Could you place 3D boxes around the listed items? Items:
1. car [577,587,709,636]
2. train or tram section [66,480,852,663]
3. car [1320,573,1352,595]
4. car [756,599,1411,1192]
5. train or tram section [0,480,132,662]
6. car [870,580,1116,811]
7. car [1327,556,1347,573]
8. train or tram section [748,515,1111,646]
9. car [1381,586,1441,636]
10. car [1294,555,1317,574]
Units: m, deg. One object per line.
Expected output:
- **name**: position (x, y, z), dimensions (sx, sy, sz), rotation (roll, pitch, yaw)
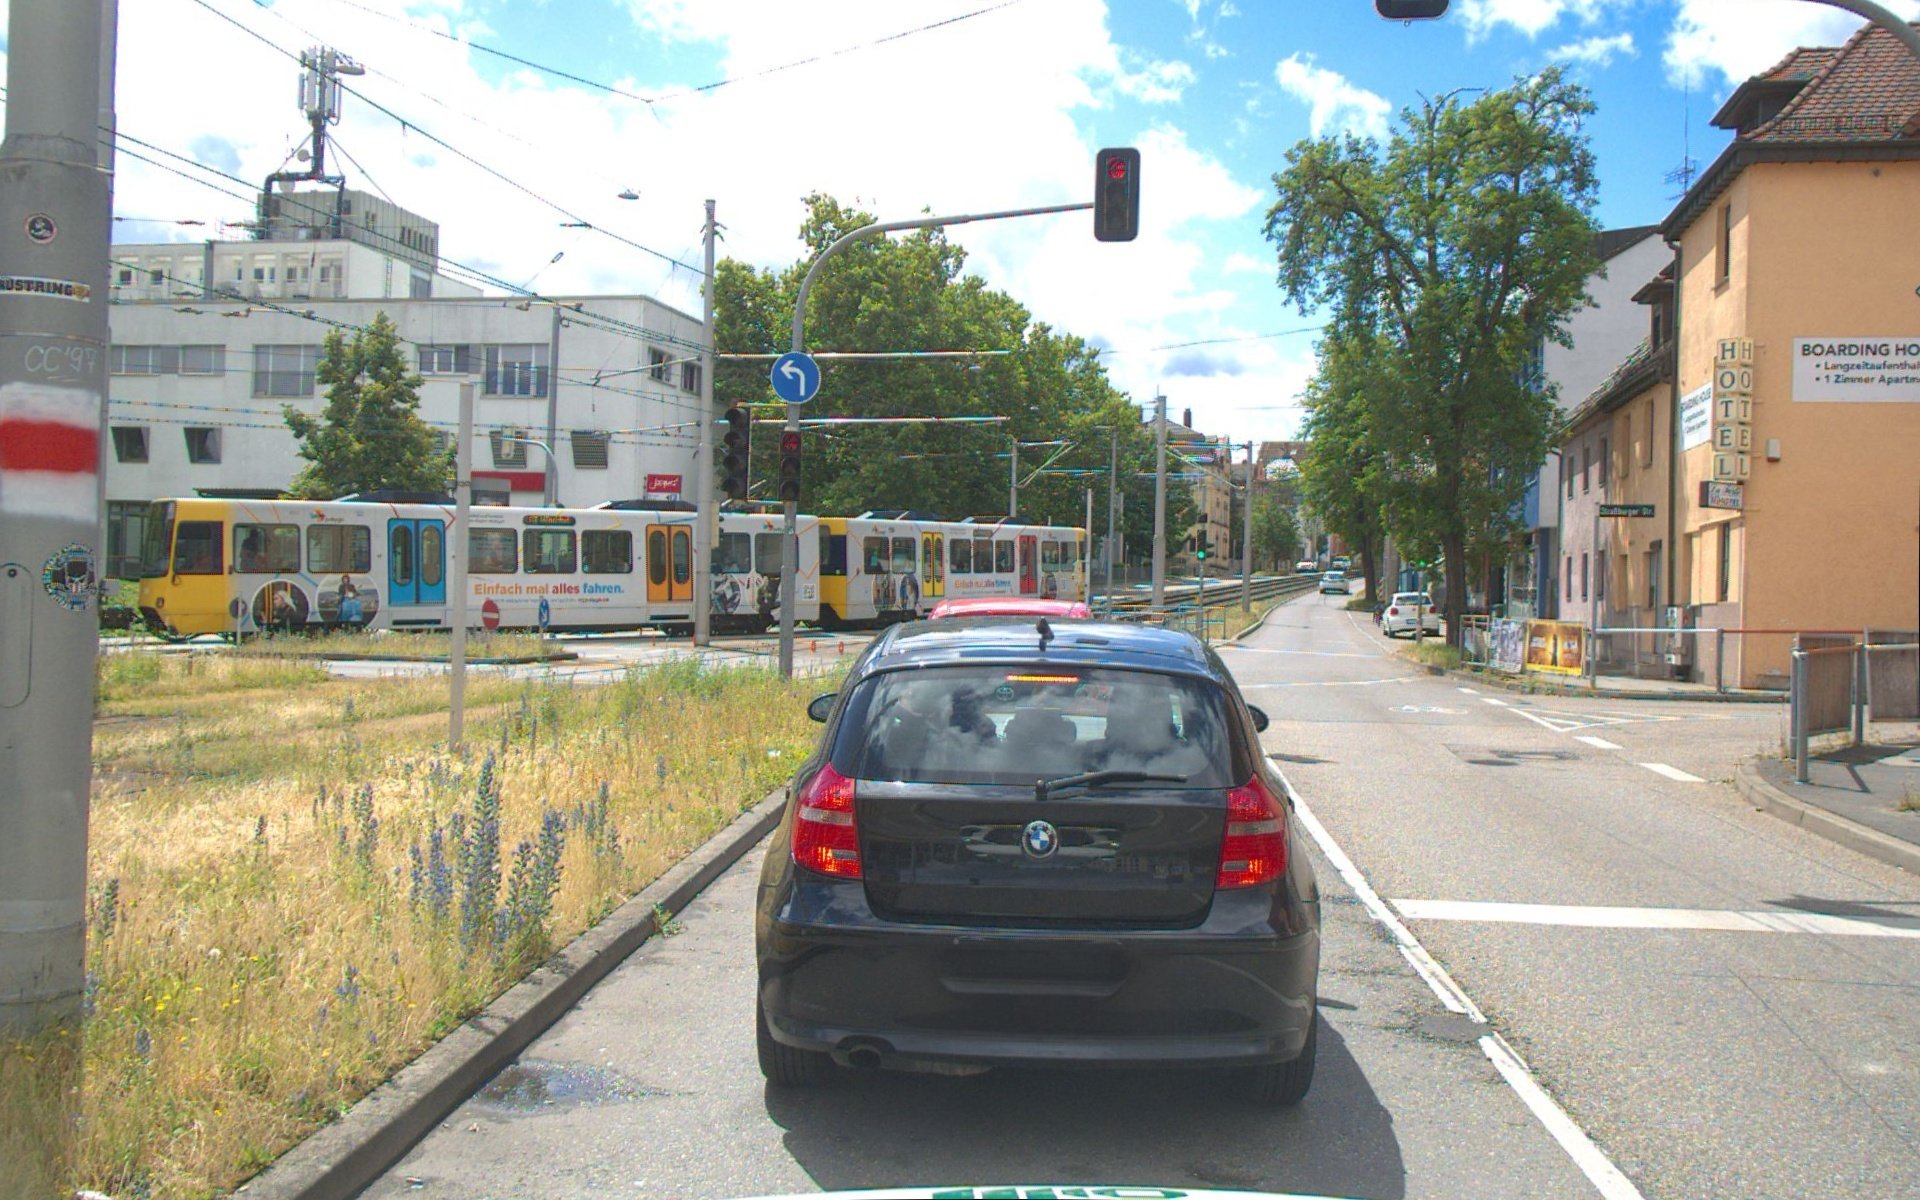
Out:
- **car**: position (-10.780, 0.389, 56.413), dimensions (4.136, 1.613, 1.829), rotation (0, -1, -44)
- **train or tram section**: position (-12.040, -0.568, 44.003), dimensions (20.455, 3.947, 3.704), rotation (0, -1, -42)
- **car**: position (25.693, -1.107, 113.028), dimensions (1.777, 1.494, 4.002), rotation (0, 0, 18)
- **car**: position (0.220, 0.762, 6.199), dimensions (1.667, 1.477, 3.997), rotation (0, -1, -3)
- **train or tram section**: position (-28.650, -0.579, 34.691), dimensions (19.771, 3.896, 3.742), rotation (0, -1, -18)
- **car**: position (0.396, 0.643, 12.806), dimensions (1.590, 1.499, 4.002), rotation (0, -1, 6)
- **car**: position (47.406, -4.482, 207.828), dimensions (1.952, 2.049, 4.000), rotation (-1, -1, 21)
- **train or tram section**: position (-0.214, -0.493, 59.001), dimensions (3.677, 3.881, 20.021), rotation (-1, -1, 28)
- **car**: position (15.252, 0.369, 56.063), dimensions (1.749, 1.624, 4.003), rotation (0, -1, 12)
- **car**: position (39.405, -4.062, 188.401), dimensions (1.952, 2.049, 4.000), rotation (-1, -1, 21)
